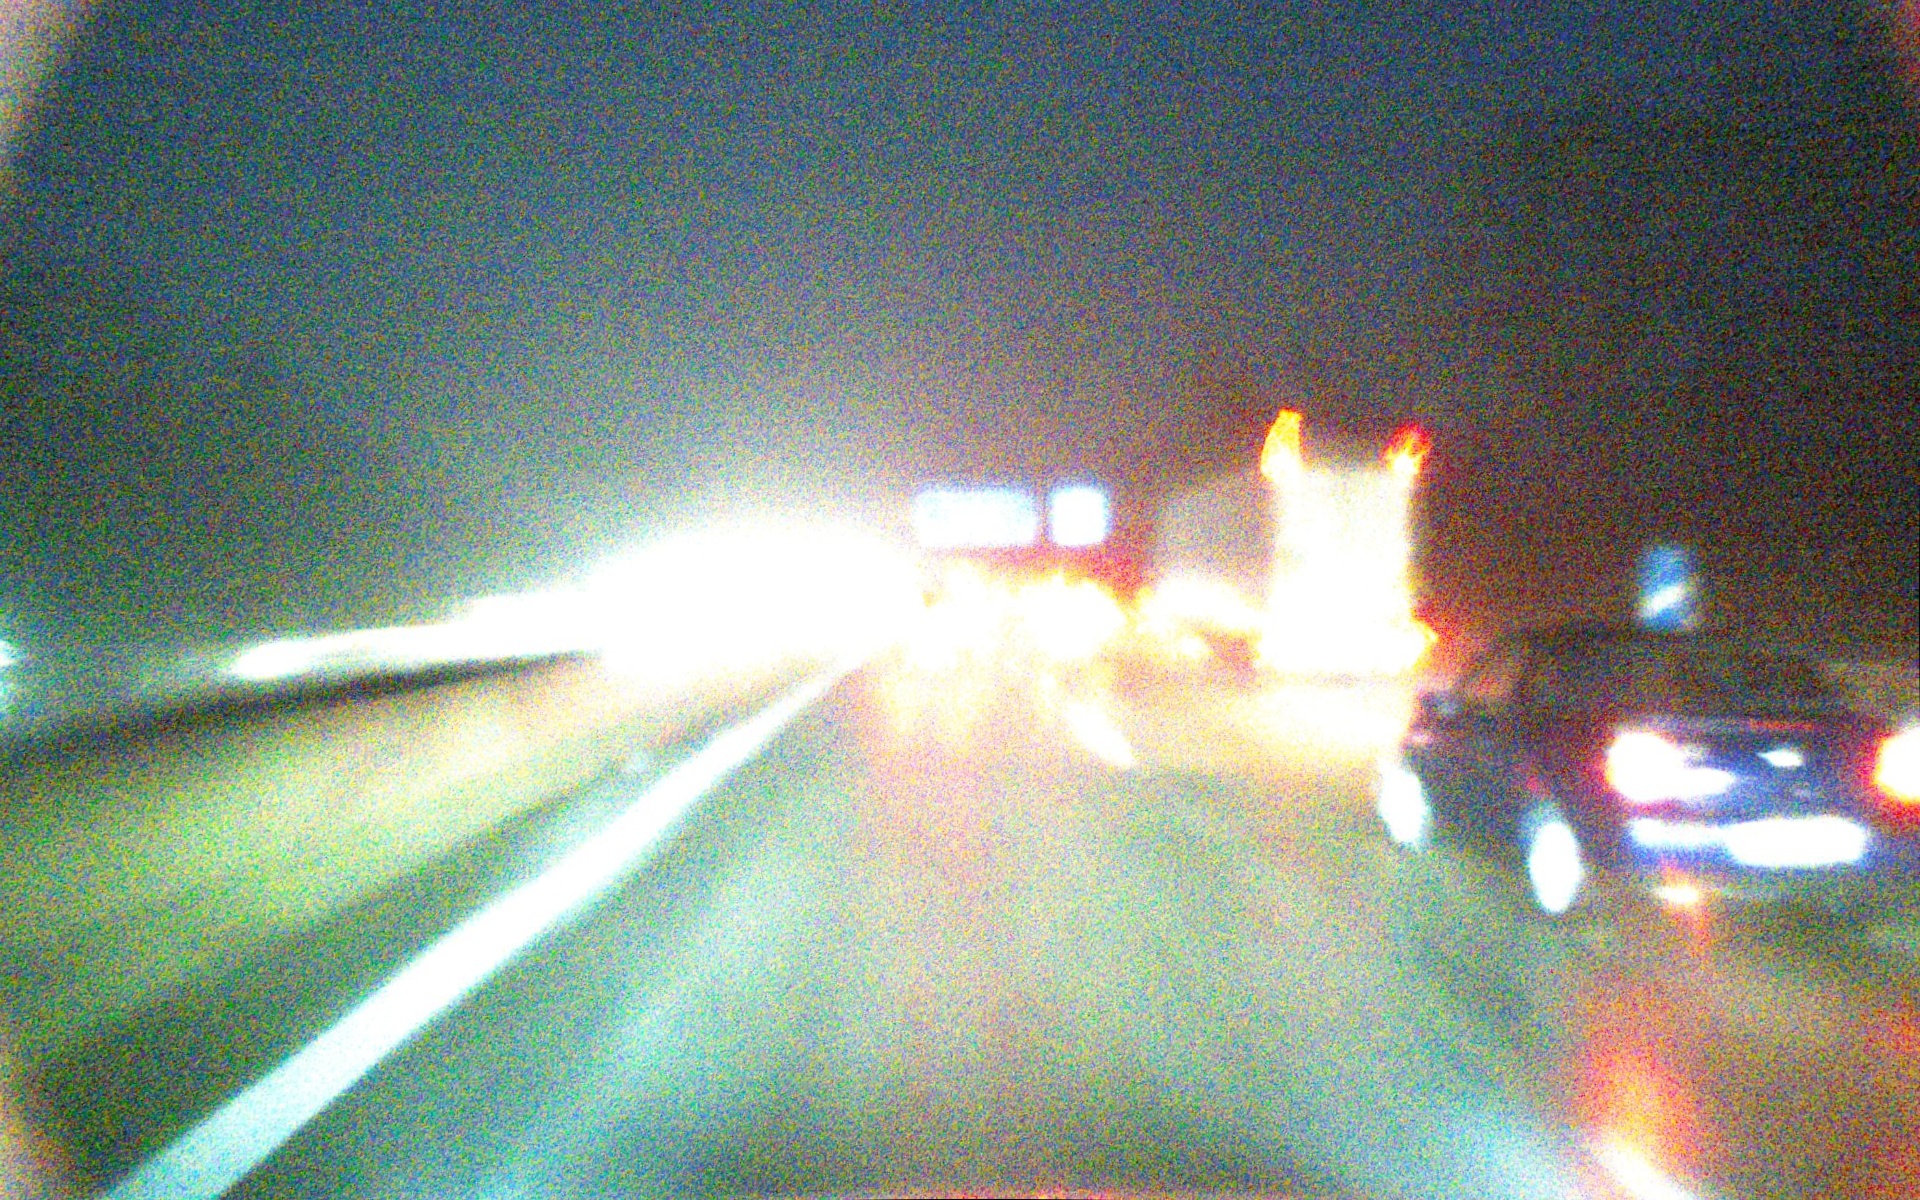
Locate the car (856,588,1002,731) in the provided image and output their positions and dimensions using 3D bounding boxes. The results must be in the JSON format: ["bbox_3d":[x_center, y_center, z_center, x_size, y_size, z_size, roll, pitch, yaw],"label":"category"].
[{"bbox_3d":[-0.708,1.086,33.856,2.655,2.578,5.828,-2,0,-3],"label":"car"}]

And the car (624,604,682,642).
[{"bbox_3d":[-13.882,1.021,74.979,1.823,1.609,4.512,1,0,-1],"label":"car"}]

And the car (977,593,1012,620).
[{"bbox_3d":[2.191,0.400,104.799,2.093,1.646,4.000,1,0,0],"label":"car"}]

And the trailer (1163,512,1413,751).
[{"bbox_3d":[6.669,0.560,35.934,2.747,4.286,12.093,1,0,-1],"label":"trailer"}]

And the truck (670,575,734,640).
[{"bbox_3d":[-18.554,0.527,119.622,2.871,4.402,11.433,-2,0,-1],"label":"truck"}]

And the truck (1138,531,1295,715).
[{"bbox_3d":[6.499,0.535,43.068,2.747,4.341,7.446,1,0,-1],"label":"truck"}]

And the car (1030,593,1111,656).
[{"bbox_3d":[2.960,0.639,45.042,1.846,1.616,3.999,1,0,-1],"label":"car"}]

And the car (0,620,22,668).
[{"bbox_3d":[-31.432,1.400,51.841,1.826,1.497,4.349,1,0,-5],"label":"car"}]

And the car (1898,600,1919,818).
[{"bbox_3d":[7.687,0.799,9.304,1.856,1.512,4.960,1,0,-2],"label":"car"}]

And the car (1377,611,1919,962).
[{"bbox_3d":[3.557,0.799,8.823,1.580,1.437,3.790,1,0,-2],"label":"car"}]
